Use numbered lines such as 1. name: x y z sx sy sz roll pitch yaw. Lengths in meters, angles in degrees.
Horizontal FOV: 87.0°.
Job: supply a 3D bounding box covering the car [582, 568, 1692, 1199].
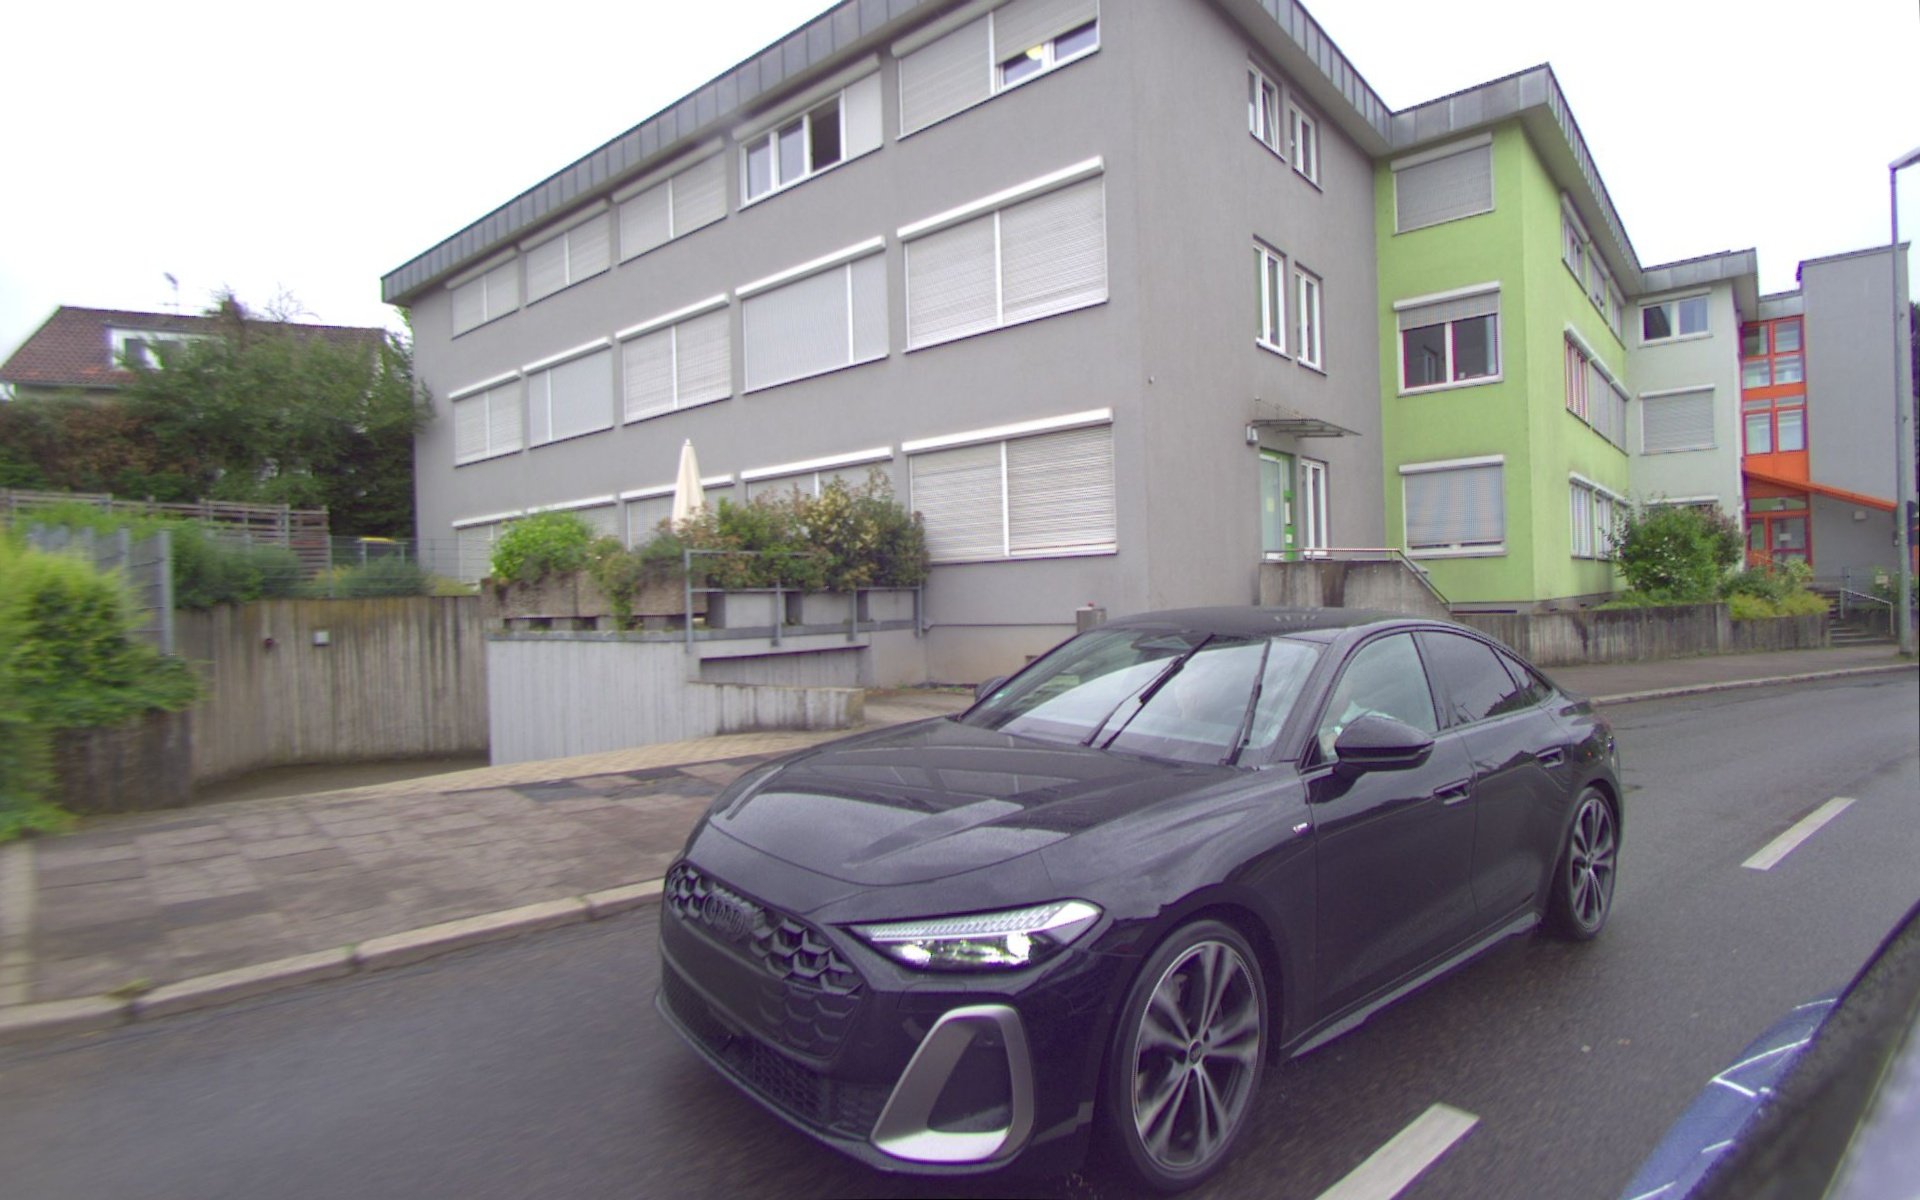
1. car: 1.147 0.670 4.118 4.656 1.442 1.870 -3 1 -40
